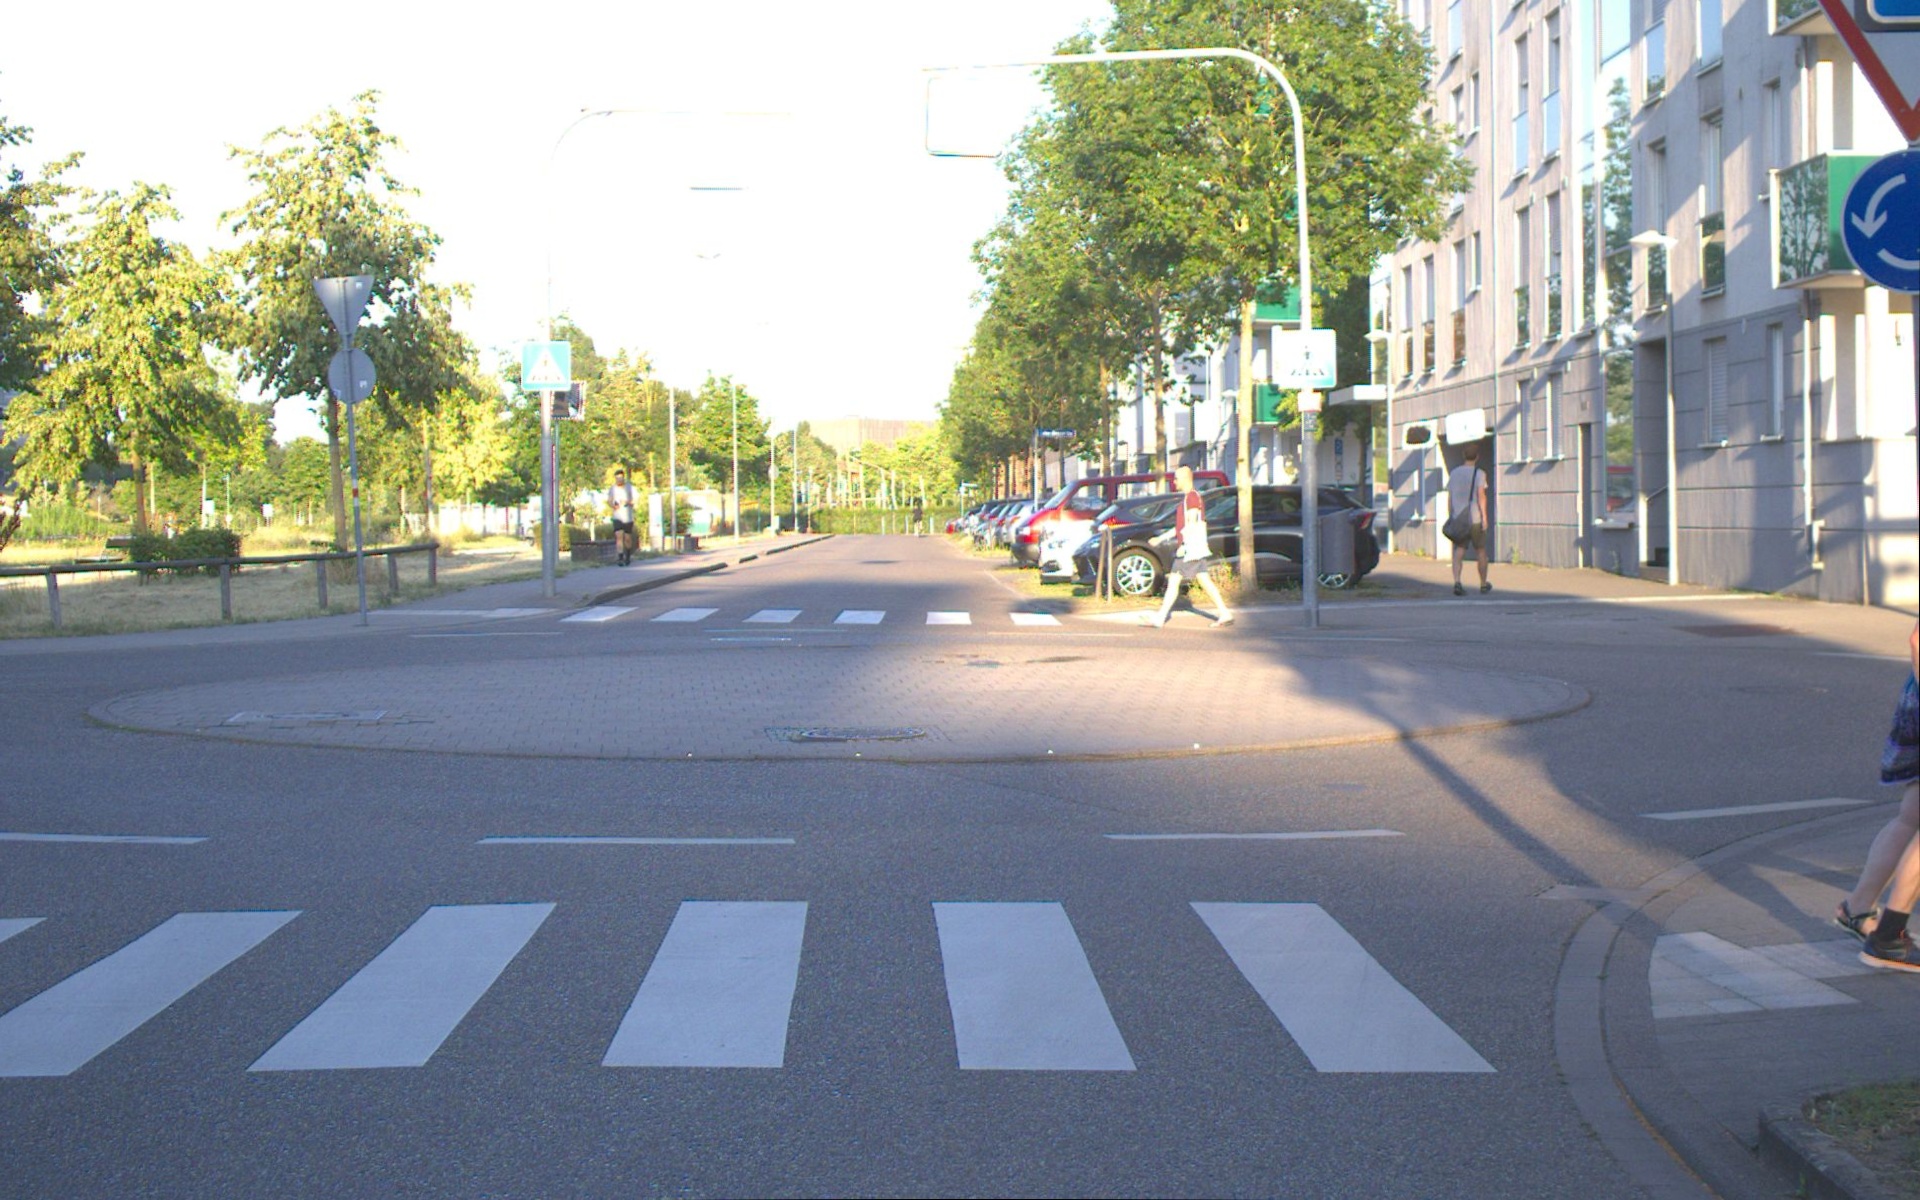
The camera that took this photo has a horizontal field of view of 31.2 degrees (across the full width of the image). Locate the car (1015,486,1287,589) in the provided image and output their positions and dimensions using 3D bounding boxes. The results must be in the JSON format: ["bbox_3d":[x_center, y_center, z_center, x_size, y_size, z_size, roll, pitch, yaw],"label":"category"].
[{"bbox_3d":[3.041,-1.018,55.463,4.263,1.590,2.000,-1,2,1],"label":"car"}]

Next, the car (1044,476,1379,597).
[{"bbox_3d":[3.428,-0.889,47.580,4.484,1.590,2.000,-1,2,1],"label":"car"}]

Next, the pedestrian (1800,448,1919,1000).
[{"bbox_3d":[3.361,0.348,10.884,1.018,1.687,0.760,-5,2,-11],"label":"pedestrian"}]

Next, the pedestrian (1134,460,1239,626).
[{"bbox_3d":[2.471,-0.625,37.597,1.003,1.781,0.762,0,1,-7],"label":"pedestrian"}]

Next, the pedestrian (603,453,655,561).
[{"bbox_3d":[-6.207,-1.738,64.360,0.866,2.007,0.790,-1,1,-11],"label":"pedestrian"}]

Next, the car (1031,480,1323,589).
[{"bbox_3d":[3.284,-1.016,52.730,4.355,1.590,2.000,-1,2,1],"label":"car"}]

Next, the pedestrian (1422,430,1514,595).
[{"bbox_3d":[6.285,-1.087,42.592,0.940,2.007,0.849,-1,1,-5],"label":"pedestrian"}]

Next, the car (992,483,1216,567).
[{"bbox_3d":[2.806,-1.483,67.670,4.263,1.590,2.000,-1,2,-1],"label":"car"}]

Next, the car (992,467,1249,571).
[{"bbox_3d":[3.262,-1.673,70.723,5.002,2.038,2.251,-1,2,-5],"label":"car"}]

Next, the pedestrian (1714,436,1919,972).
[{"bbox_3d":[3.219,0.309,11.582,0.983,1.687,0.700,-6,3,-12],"label":"pedestrian"}]
